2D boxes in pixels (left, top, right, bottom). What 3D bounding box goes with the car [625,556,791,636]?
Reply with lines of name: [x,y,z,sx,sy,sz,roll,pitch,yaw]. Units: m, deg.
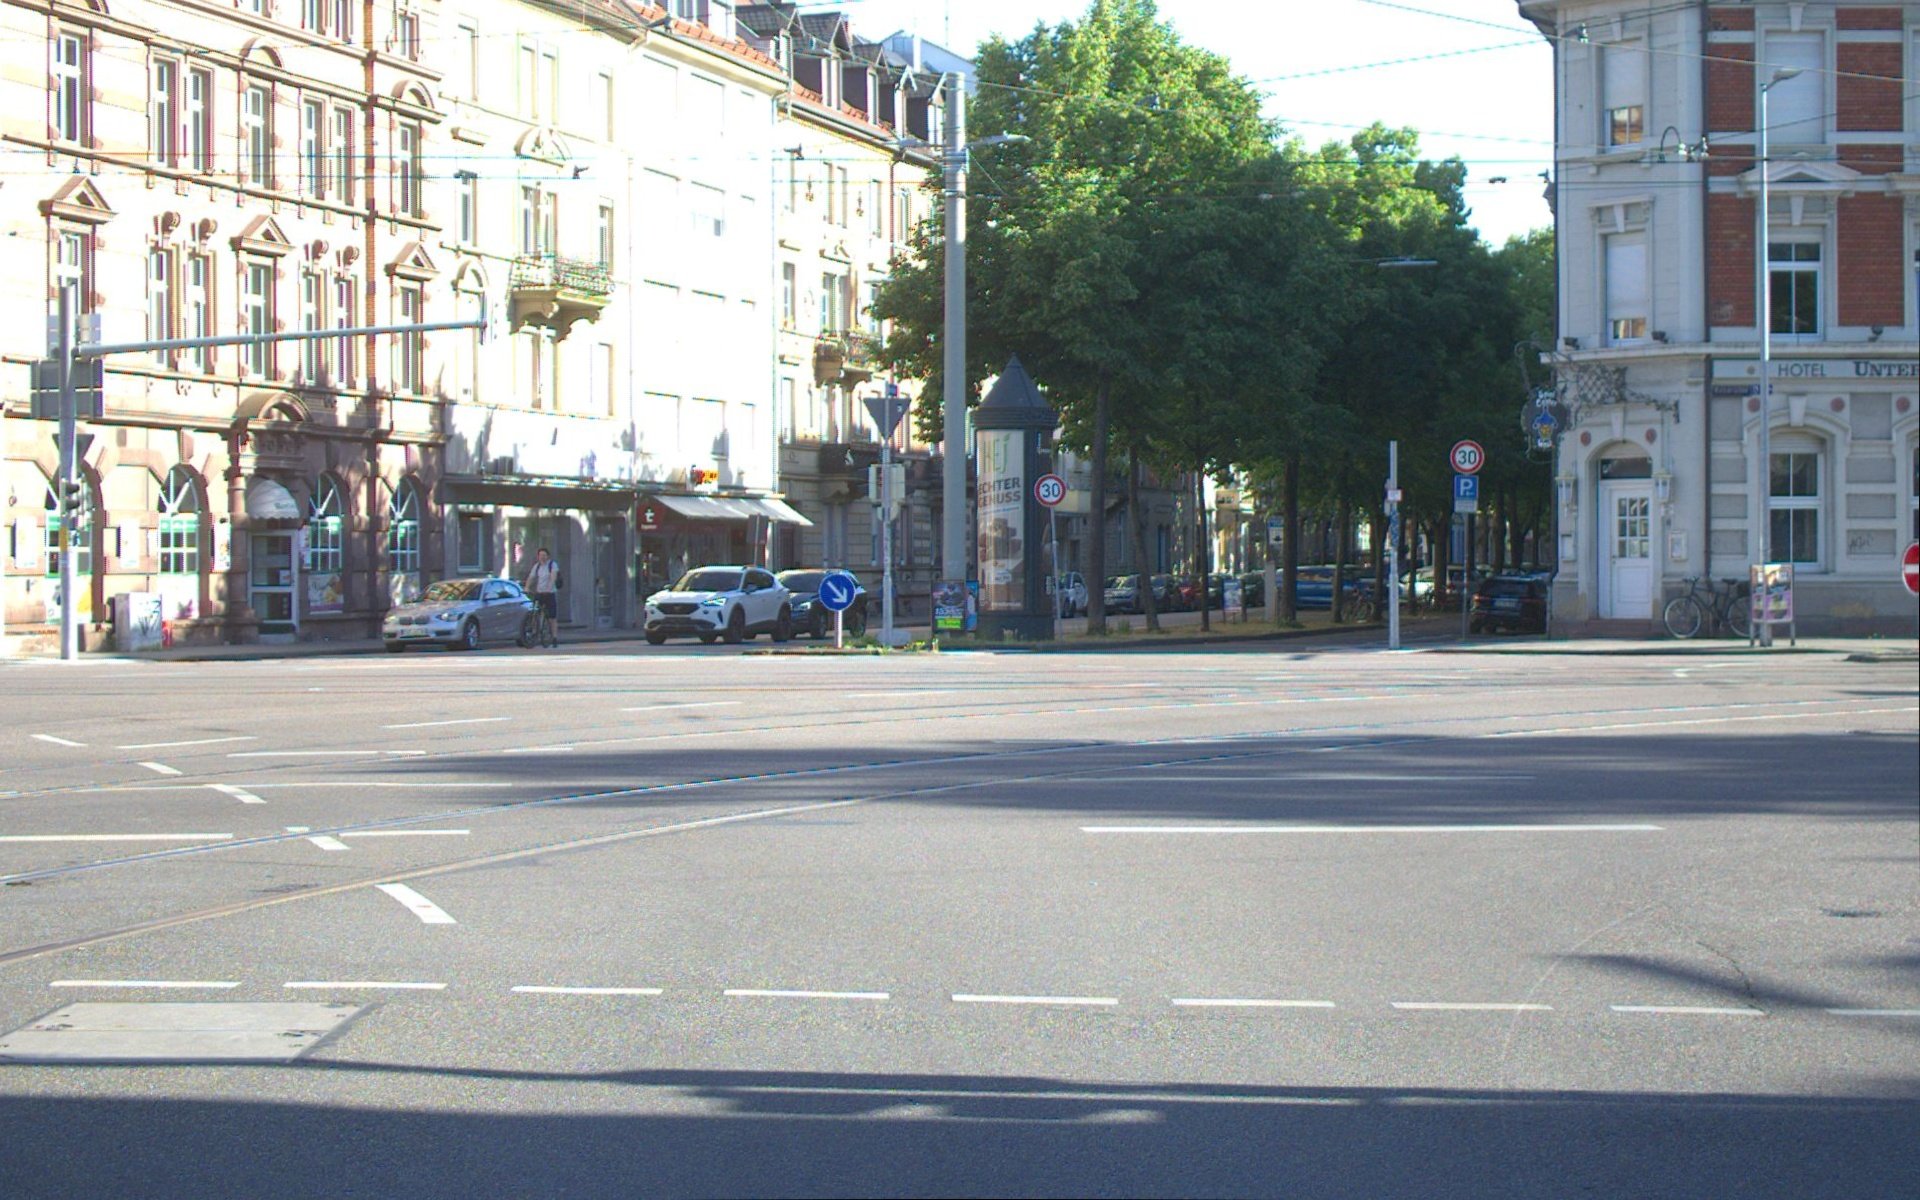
car: [-4.877,-0.106,67.172,2.098,1.494,3.998,0,1,14]

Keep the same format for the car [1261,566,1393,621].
car: [12.293,-0.230,115.232,4.113,1.640,1.745,3,1,15]

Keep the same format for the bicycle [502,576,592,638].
bicycle: [-7.866,0.125,65.635,0.751,1.131,2.808,0,1,14]

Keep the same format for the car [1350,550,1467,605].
car: [17.411,-0.881,133.430,4.115,1.912,1.744,3,1,21]

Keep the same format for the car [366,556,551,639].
car: [-9.776,-0.074,67.387,2.098,1.540,4.361,0,1,14]

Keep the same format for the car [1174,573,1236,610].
car: [9.728,-0.352,136.392,1.742,1.393,4.121,3,1,13]

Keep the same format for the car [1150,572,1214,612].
car: [8.510,-0.317,131.614,1.742,1.393,4.121,3,1,13]

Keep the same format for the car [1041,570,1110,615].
car: [3.922,-0.259,115.812,1.741,1.393,4.122,3,1,9]

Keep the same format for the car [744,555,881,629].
car: [-3.128,-0.193,73.539,1.994,1.508,3.998,0,1,12]

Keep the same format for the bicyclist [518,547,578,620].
bicyclist: [-7.852,-0.317,65.598,0.794,1.370,1.107,0,1,14]

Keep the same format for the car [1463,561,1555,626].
car: [13.169,-0.159,82.292,1.652,1.519,3.750,0,0,17]

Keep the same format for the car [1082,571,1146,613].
car: [5.509,-0.307,122.790,1.741,1.393,4.122,3,1,9]

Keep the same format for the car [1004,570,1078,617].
car: [2.598,-0.220,110.007,1.741,1.393,4.122,3,1,9]

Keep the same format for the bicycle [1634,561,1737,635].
bicycle: [12.063,-0.036,57.140,1.639,1.218,0.606,0,1,16]
